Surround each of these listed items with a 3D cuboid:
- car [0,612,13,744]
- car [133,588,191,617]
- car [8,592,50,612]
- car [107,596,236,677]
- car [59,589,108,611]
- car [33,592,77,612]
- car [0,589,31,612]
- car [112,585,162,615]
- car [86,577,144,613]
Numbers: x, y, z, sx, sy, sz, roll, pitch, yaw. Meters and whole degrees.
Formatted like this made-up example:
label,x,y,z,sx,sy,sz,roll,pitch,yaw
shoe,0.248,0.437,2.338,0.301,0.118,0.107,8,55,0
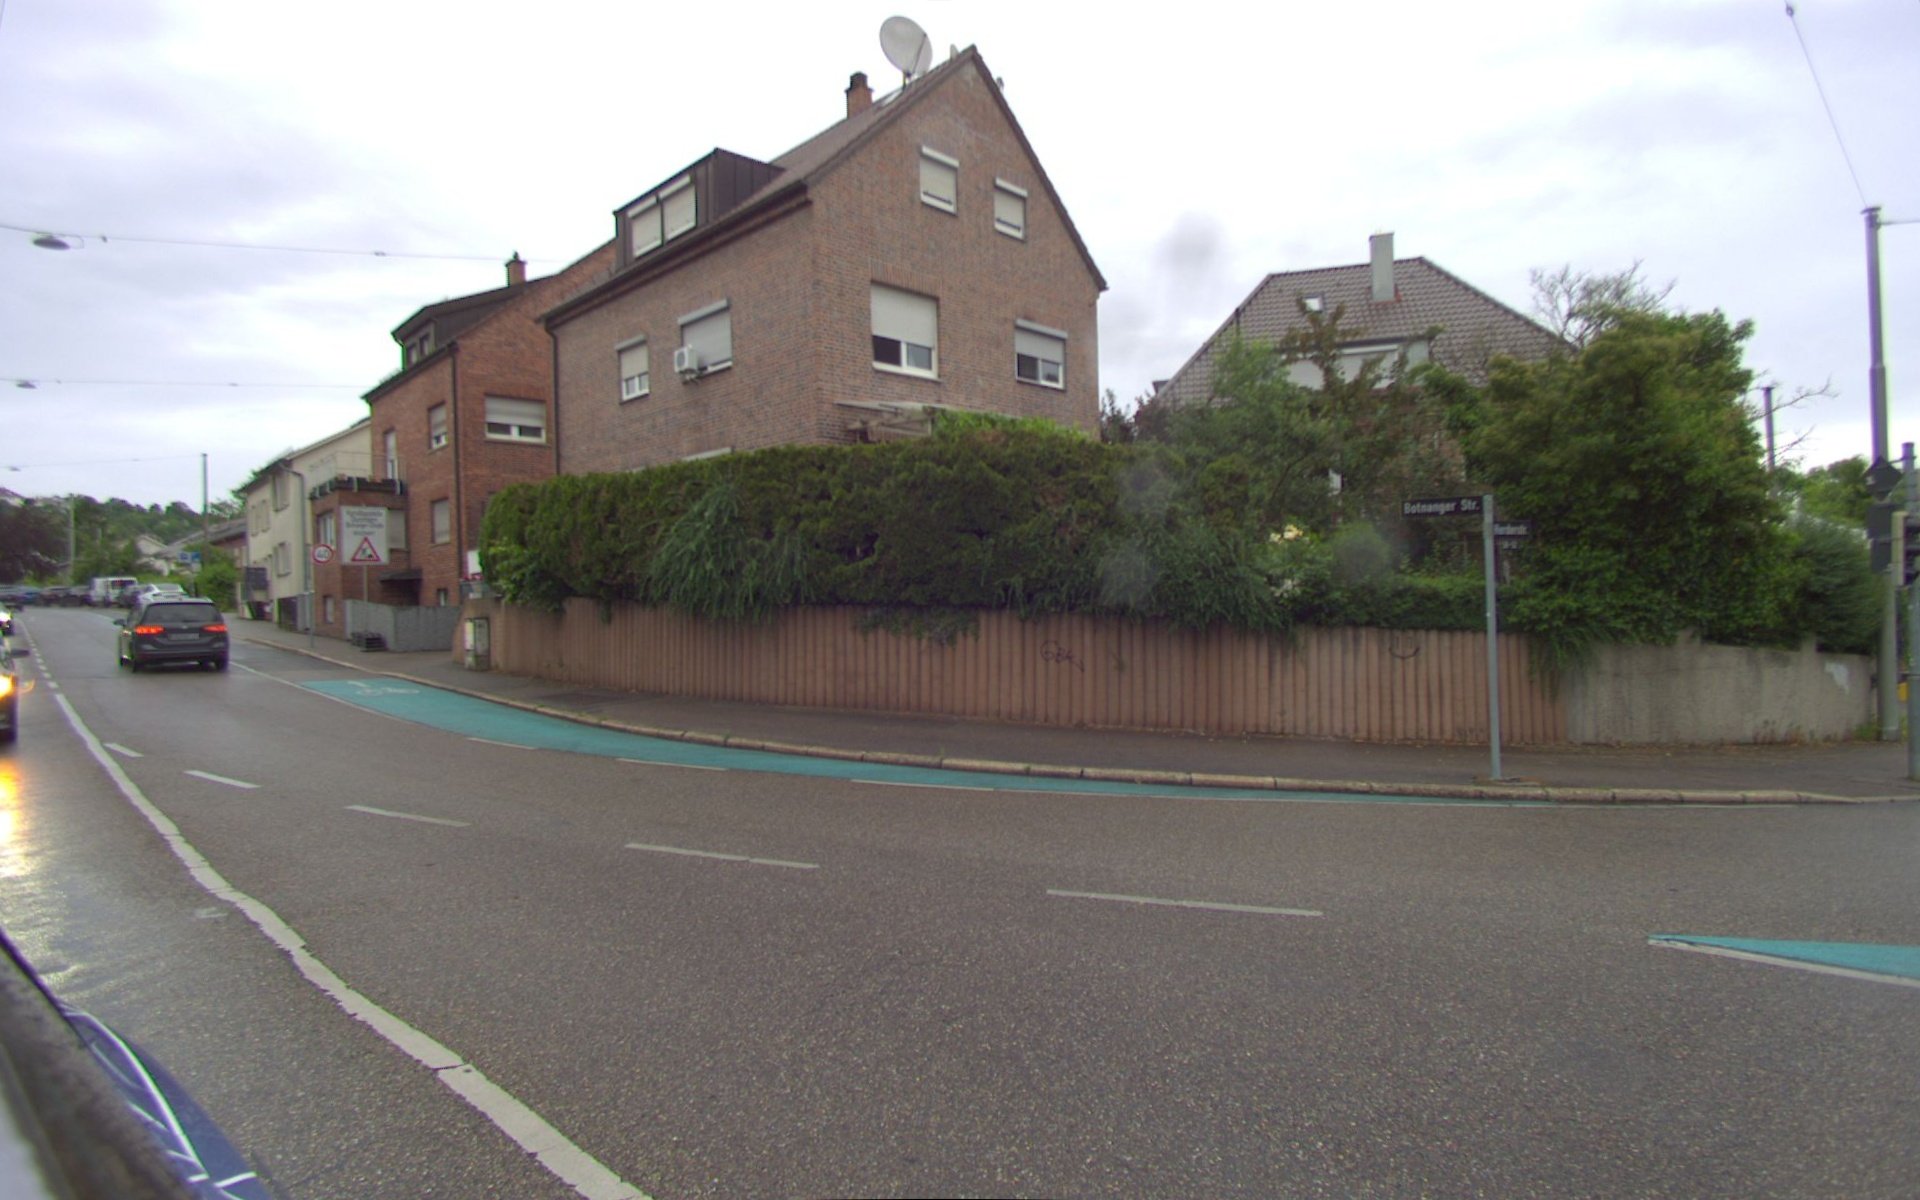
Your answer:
label,x,y,z,sx,sy,sz,roll,pitch,yaw
car,-12.634,0.882,12.038,4.002,1.426,1.845,0,0,45
car,-46.437,0.152,58.869,4.262,1.577,1.921,0,2,42
car,-71.288,0.152,77.464,3.895,1.501,1.605,-1,2,36
car,-18.444,0.804,23.605,4.175,1.693,1.827,1,-1,45
car,-61.630,0.009,71.130,4.001,1.501,1.636,-1,2,34
car,-66.528,0.138,74.358,3.853,1.407,1.635,-1,2,36
car,-63.449,0.047,67.303,3.713,1.457,1.897,0,0,39
car,-52.402,-0.021,64.444,4.262,1.817,1.791,0,2,42
car,-57.059,-0.332,68.288,4.544,2.303,2.229,0,2,41
